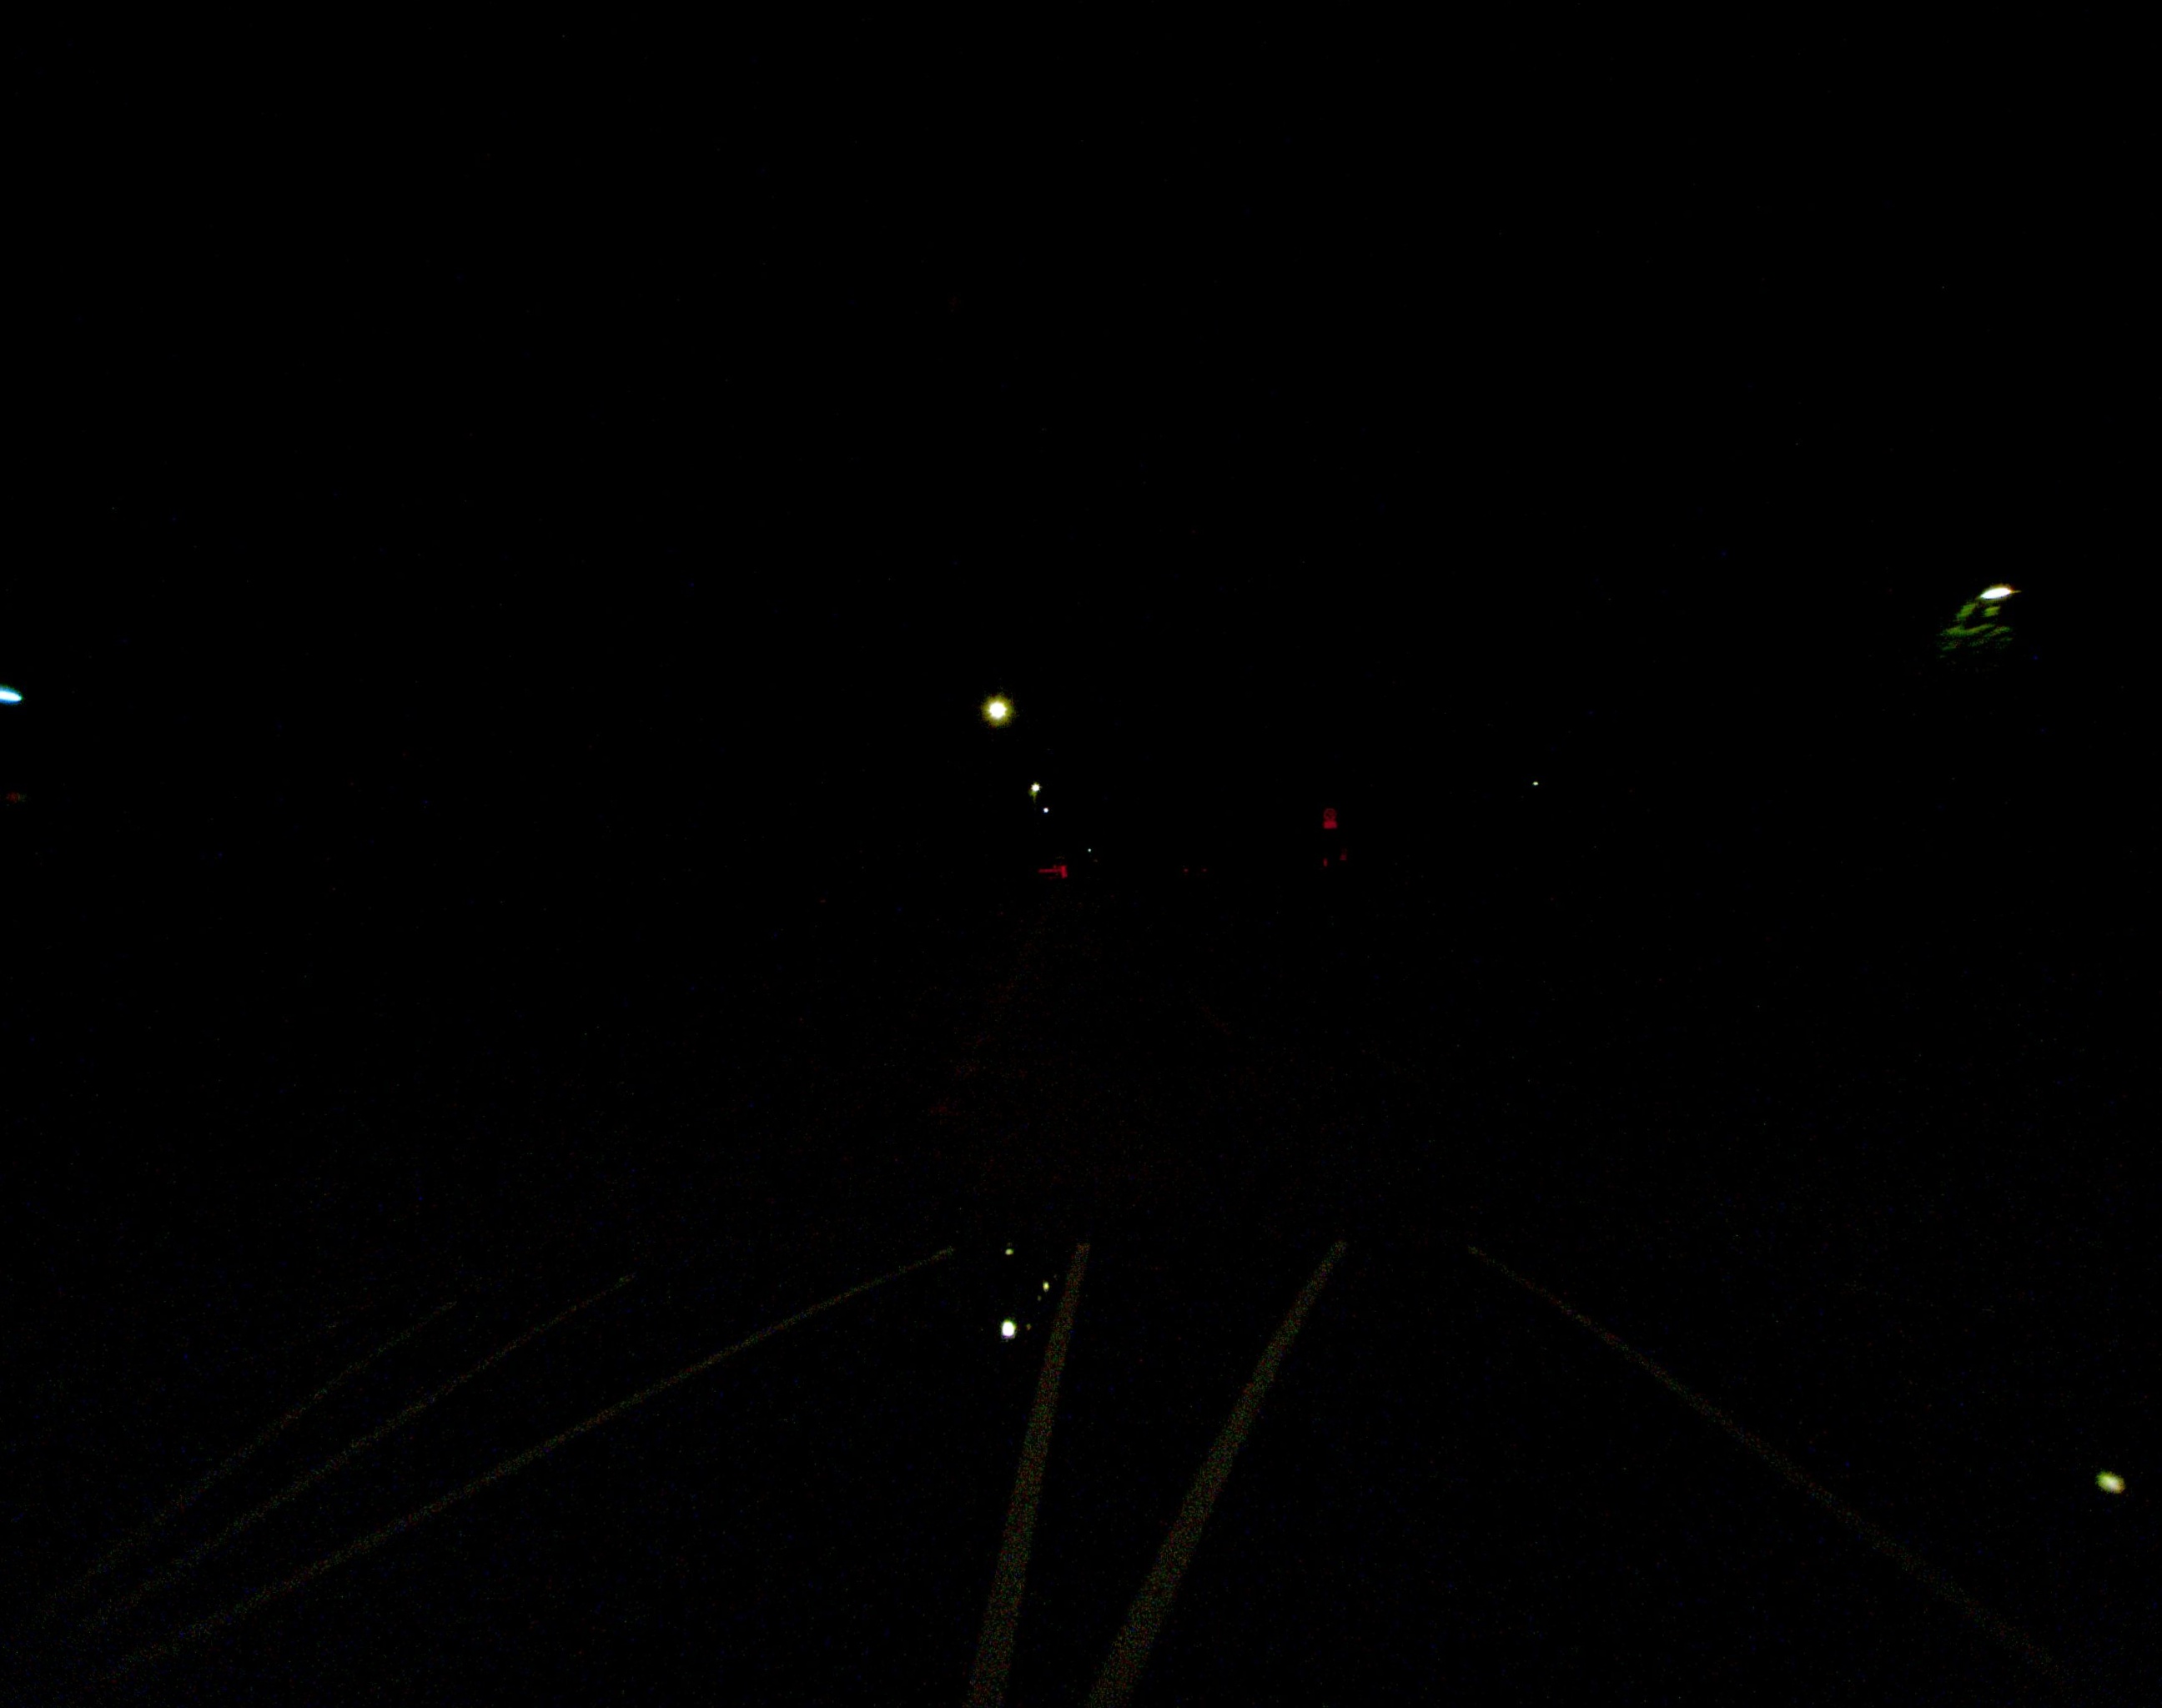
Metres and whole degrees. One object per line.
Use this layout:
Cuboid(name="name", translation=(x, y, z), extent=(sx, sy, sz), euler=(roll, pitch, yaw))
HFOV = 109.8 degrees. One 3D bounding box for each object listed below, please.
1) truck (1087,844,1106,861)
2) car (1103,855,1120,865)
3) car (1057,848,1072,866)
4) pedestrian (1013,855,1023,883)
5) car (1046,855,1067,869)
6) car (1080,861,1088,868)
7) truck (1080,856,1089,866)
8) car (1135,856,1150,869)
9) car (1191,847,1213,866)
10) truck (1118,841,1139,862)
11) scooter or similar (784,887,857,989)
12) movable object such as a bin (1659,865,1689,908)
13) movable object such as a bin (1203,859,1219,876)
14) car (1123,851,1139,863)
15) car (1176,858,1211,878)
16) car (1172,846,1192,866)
Cuboid(name="truck", translation=(3.048, -0.234, 153.900), extent=(2.381, 3.224, 7.225), euler=(-1, 0, -10))
Cuboid(name="car", translation=(5.419, 1.123, 136.301), extent=(2.000, 1.761, 4.688), euler=(-1, 0, -10))
Cuboid(name="car", translation=(-2.415, 0.463, 112.096), extent=(2.026, 2.512, 6.051), euler=(-2, 0, -1))
Cuboid(name="pedestrian", translation=(-4.242, 0.996, 50.905), extent=(0.572, 1.842, 0.820), euler=(-1, 0, 1))
Cuboid(name="car", translation=(-5.937, 1.891, 183.666), extent=(2.392, 3.224, 7.217), euler=(-1, 0, -24))
Cuboid(name="car", translation=(0.684, 2.664, 192.076), extent=(1.862, 1.630, 3.999), euler=(0, 0, -3))
Cuboid(name="truck", translation=(1.008, 1.867, 201.634), extent=(2.138, 2.597, 7.098), euler=(0, 0, -1))
Cuboid(name="car", translation=(7.691, 1.080, 94.809), extent=(1.759, 1.517, 4.324), euler=(-1, 0, 4))
Cuboid(name="car", translation=(14.915, 0.340, 93.702), extent=(2.212, 2.308, 4.625), euler=(0, 0, 4))
Cuboid(name="truck", translation=(7.461, -0.336, 120.384), extent=(2.550, 3.261, 7.311), euler=(-1, 0, -2))
Cuboid(name="scooter or similar", translation=(-3.574, 1.117, 10.522), extent=(0.495, 1.254, 1.320), euler=(1, 0, 2))
Cuboid(name="movable object such as a bin", translation=(18.369, 0.995, 23.539), extent=(0.622, 1.299, 0.567), euler=(1, 0, -38))
Cuboid(name="movable object such as a bin", translation=(11.655, 1.187, 68.143), extent=(1.167, 1.487, 1.065), euler=(-1, 0, -3))
Cuboid(name="car", translation=(7.430, 0.439, 113.525), extent=(1.834, 1.806, 4.837), euler=(0, 0, -2))
Cuboid(name="car", translation=(8.129, 0.987, 55.225), extent=(1.916, 1.395, 4.338), euler=(0, 0, 1))
Cuboid(name="car", translation=(12.326, 0.240, 93.082), extent=(1.998, 2.308, 4.968), euler=(1, 0, 4))
